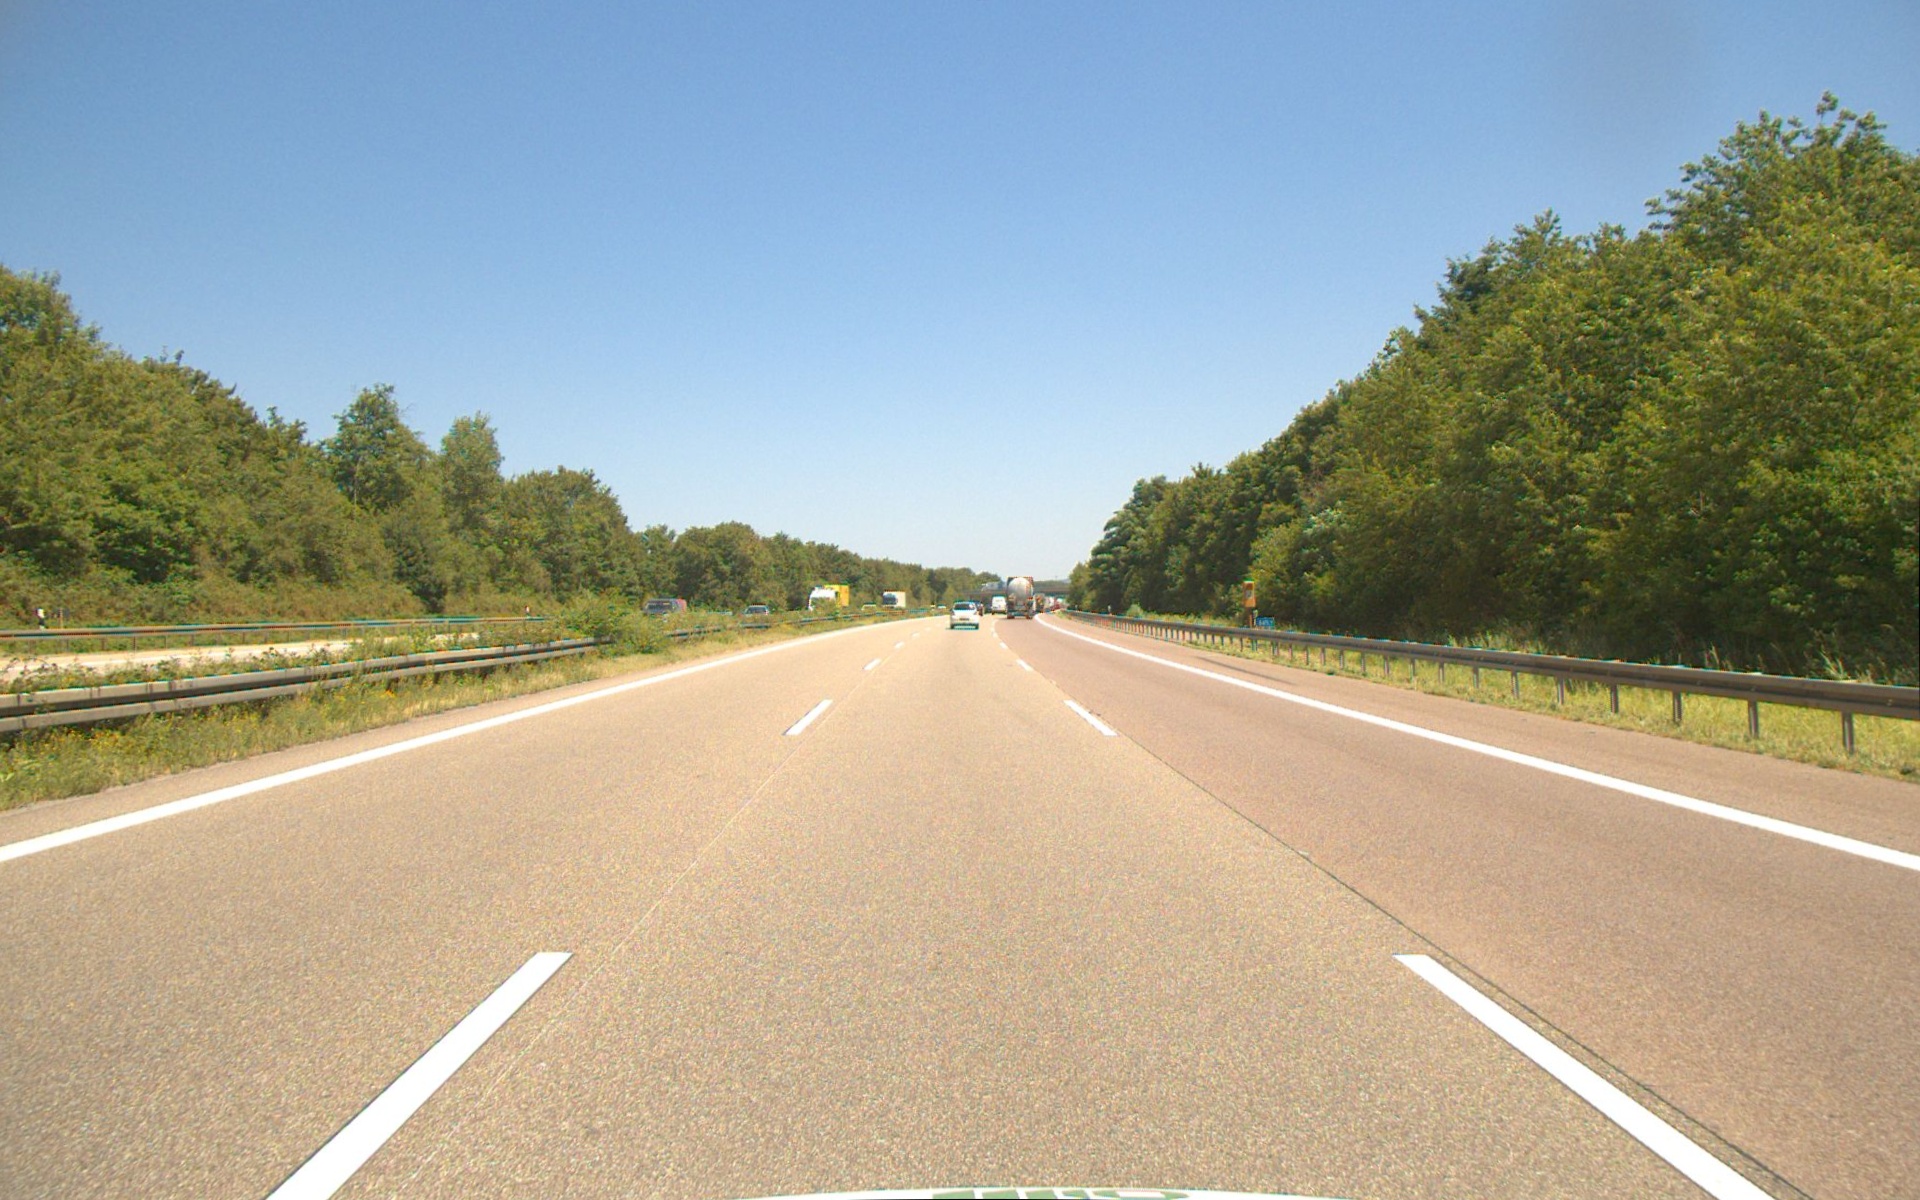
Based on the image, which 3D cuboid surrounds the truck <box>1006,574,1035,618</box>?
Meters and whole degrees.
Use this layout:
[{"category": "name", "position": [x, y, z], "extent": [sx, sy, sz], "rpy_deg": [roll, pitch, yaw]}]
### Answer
[{"category": "truck", "position": [5.996, -0.331, 162.501], "extent": [2.682, 4.123, 10.458], "rpy_deg": [0, 0, 3]}]

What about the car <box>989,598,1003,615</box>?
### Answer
[{"category": "car", "position": [5.189, 0.977, 239.754], "extent": [1.952, 2.384, 4.388], "rpy_deg": [0, 0, 2]}]

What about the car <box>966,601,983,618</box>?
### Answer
[{"category": "car", "position": [1.795, 1.124, 200.778], "extent": [1.952, 2.049, 4.001], "rpy_deg": [-1, 0, 2]}]

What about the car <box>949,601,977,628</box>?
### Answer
[{"category": "car", "position": [0.158, 0.831, 96.579], "extent": [1.594, 1.505, 3.999], "rpy_deg": [0, 0, 0]}]

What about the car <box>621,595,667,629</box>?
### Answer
[{"category": "car", "position": [-17.211, 0.648, 90.206], "extent": [1.632, 1.785, 4.001], "rpy_deg": [0, 0, 2]}]
